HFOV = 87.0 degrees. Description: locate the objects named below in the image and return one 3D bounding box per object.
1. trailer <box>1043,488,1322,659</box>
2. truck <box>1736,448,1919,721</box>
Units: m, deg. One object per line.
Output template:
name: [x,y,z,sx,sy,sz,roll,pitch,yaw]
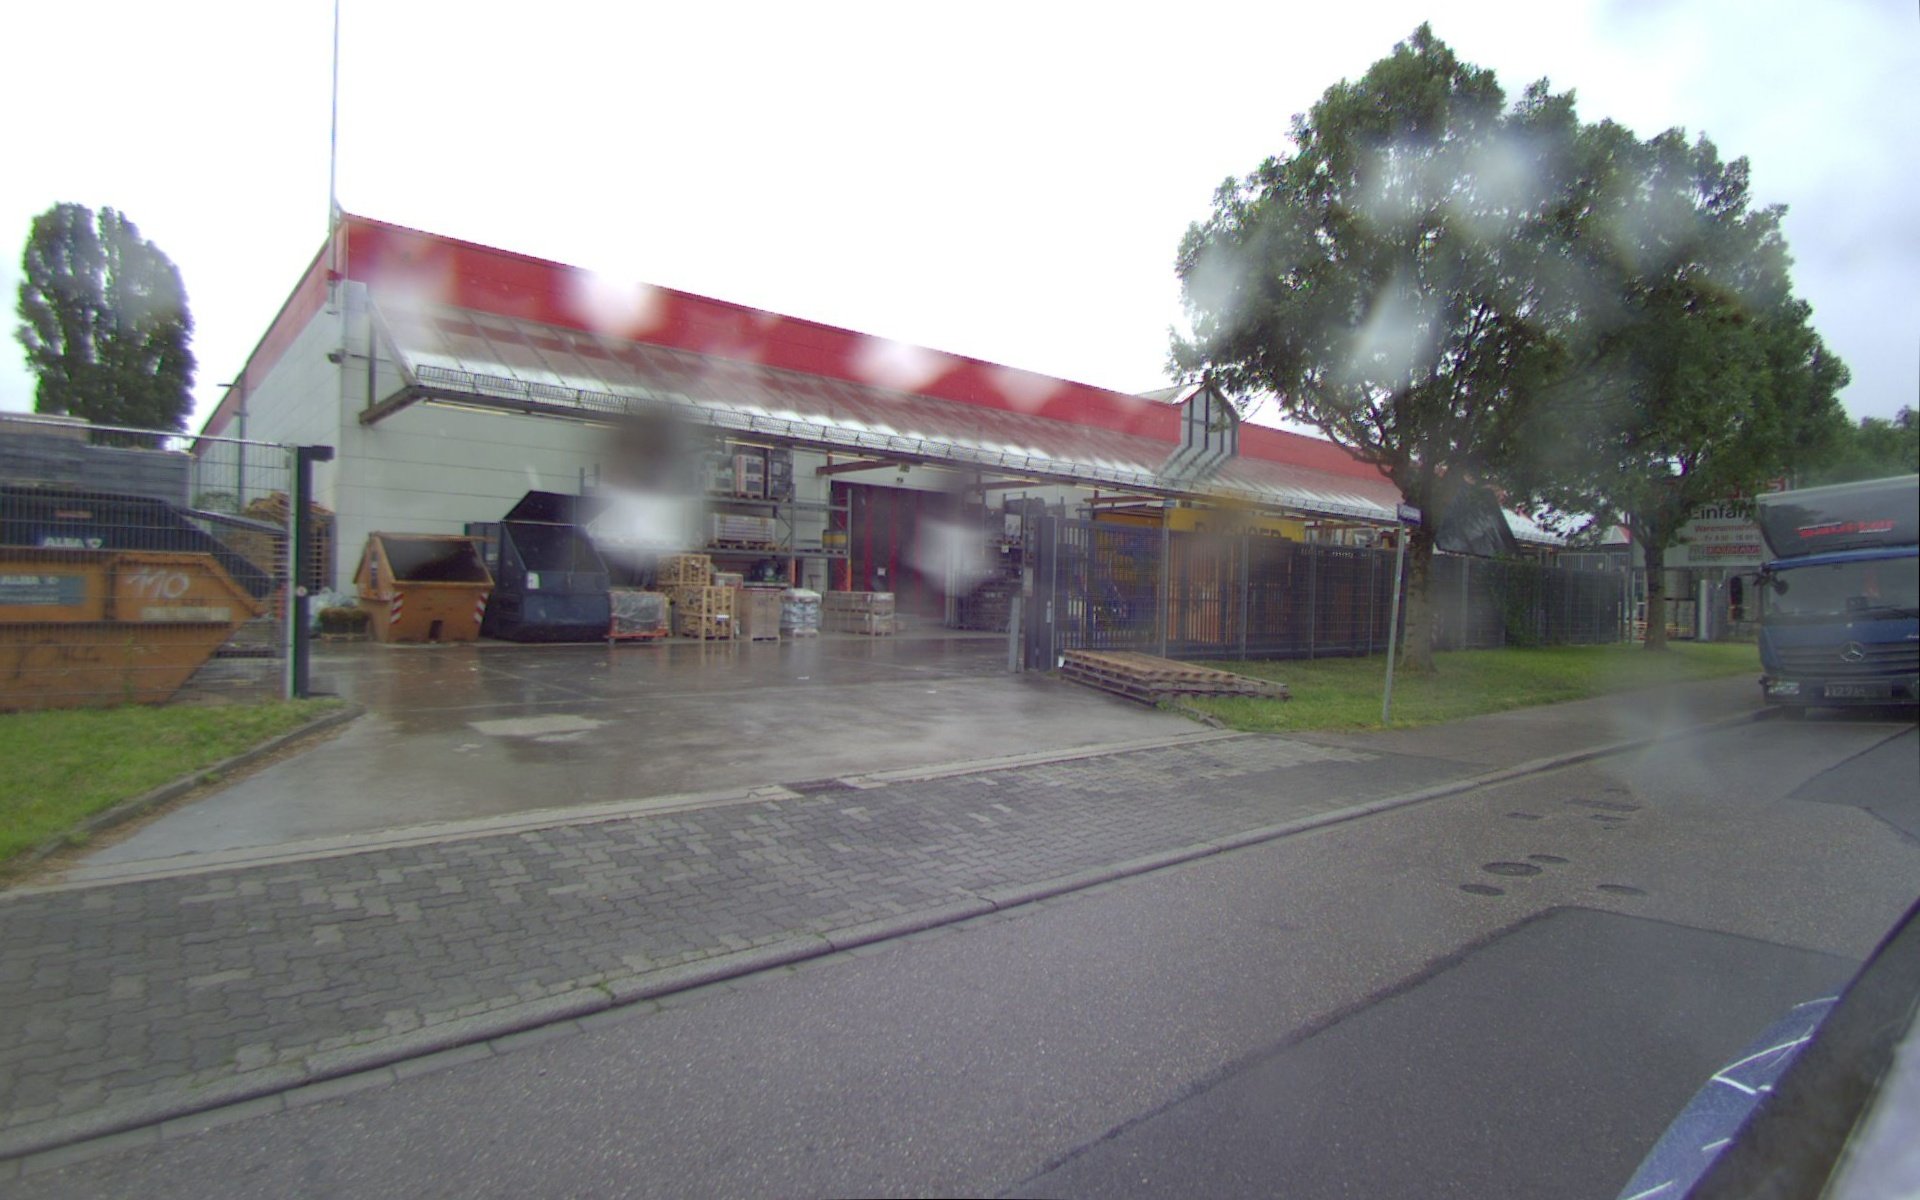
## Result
trailer: [6.778,-0.739,29.600,9.305,4.295,2.972,-1,1,-41]
truck: [15.738,-0.162,16.917,7.866,3.740,2.676,1,-2,-40]
